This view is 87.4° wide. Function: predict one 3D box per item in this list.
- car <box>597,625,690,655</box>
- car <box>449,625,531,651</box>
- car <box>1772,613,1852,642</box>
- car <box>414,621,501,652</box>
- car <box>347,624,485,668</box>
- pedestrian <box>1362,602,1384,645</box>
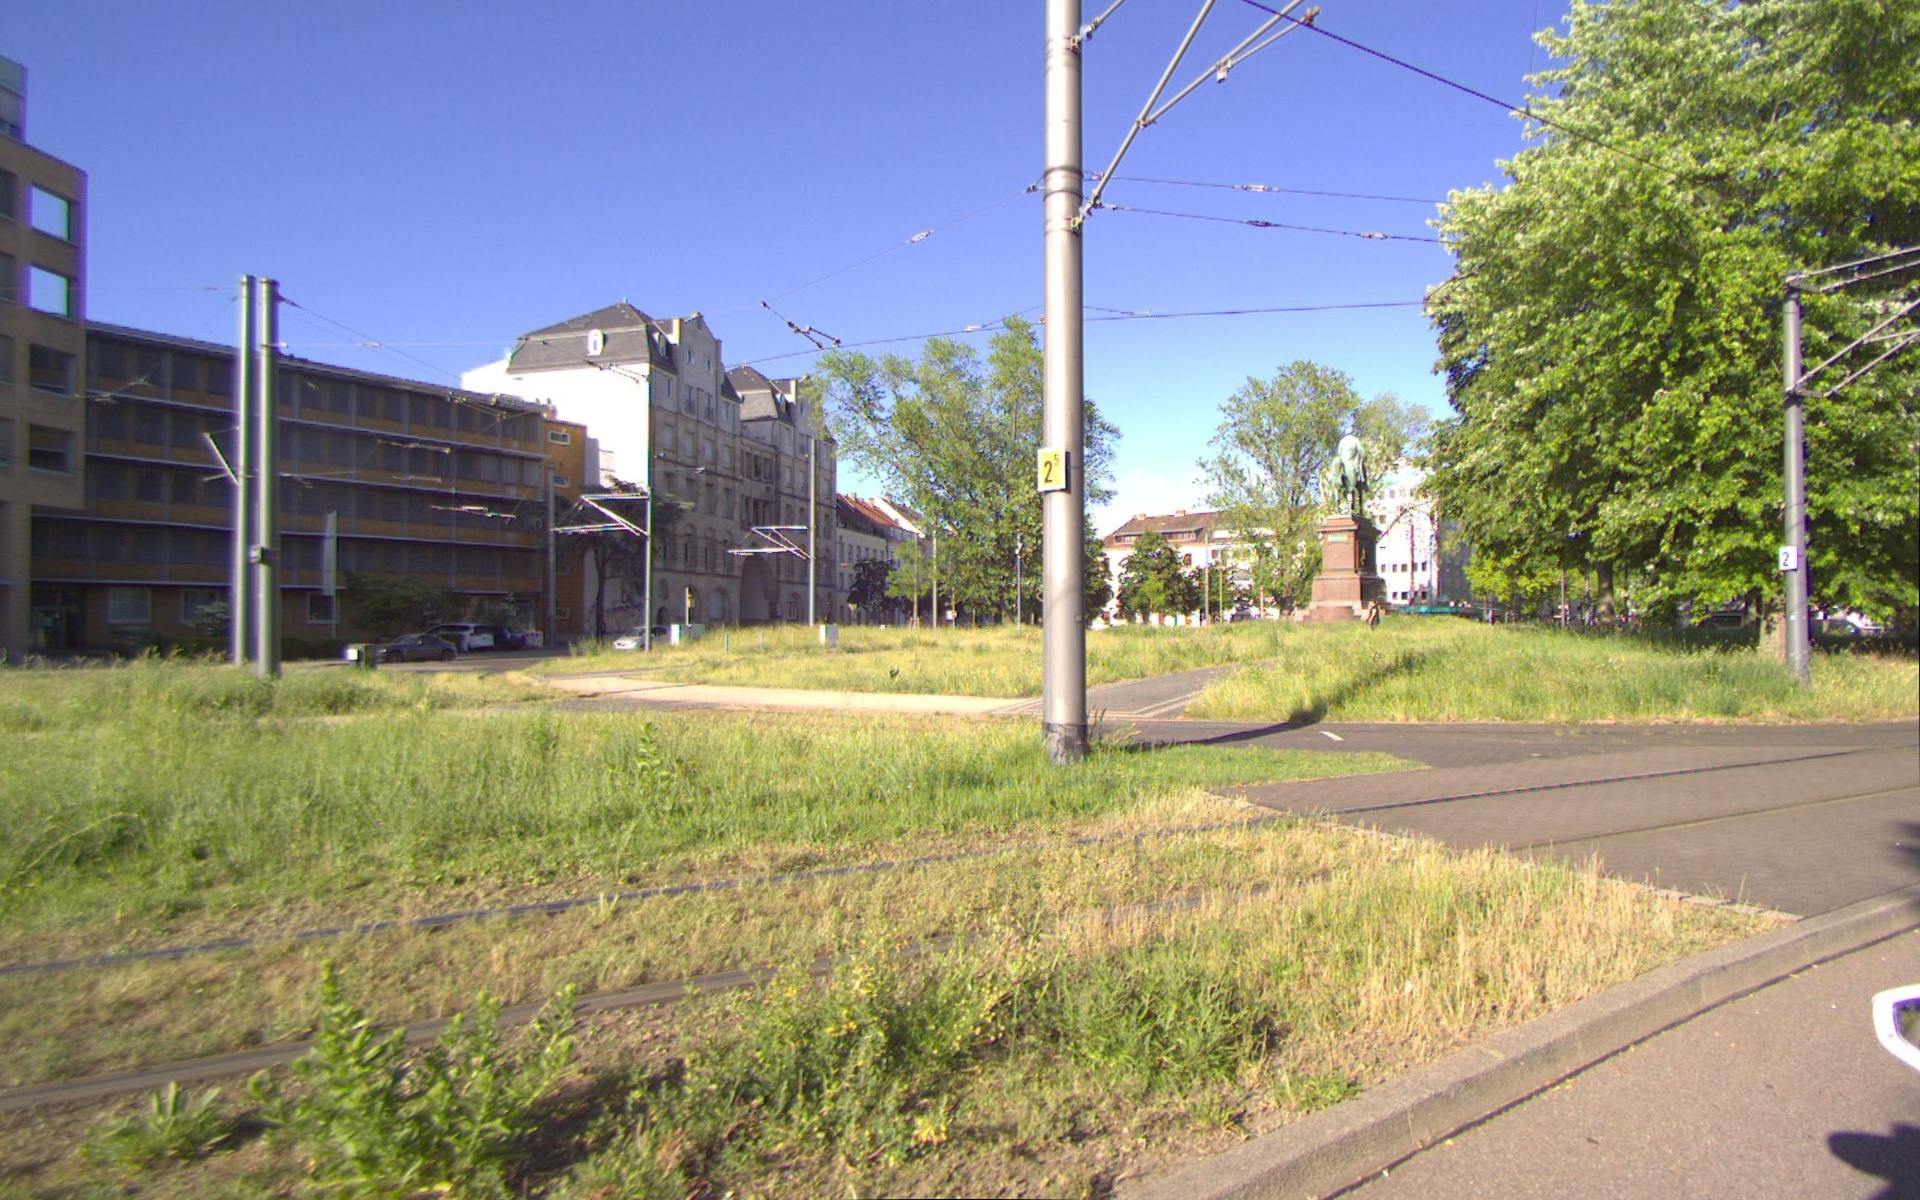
[{"bbox_3d":[-16.870,2.104,53.838,1.963,1.372,4.760,1,0,28],"label":"car"},{"bbox_3d":[-28.017,2.236,59.898,3.919,1.359,2.001,2,0,9],"label":"car"},{"bbox_3d":[75.359,2.410,88.959,5.272,2.345,1.991,1,-1,40],"label":"car"},{"bbox_3d":[-28.675,2.067,57.376,3.919,1.602,2.001,2,0,9],"label":"car"},{"bbox_3d":[-21.256,1.833,39.395,1.966,1.532,4.273,0,-4,33],"label":"car"},{"bbox_3d":[16.053,0.908,39.076,0.661,1.637,0.555,2,0,10],"label":"pedestrian"}]
